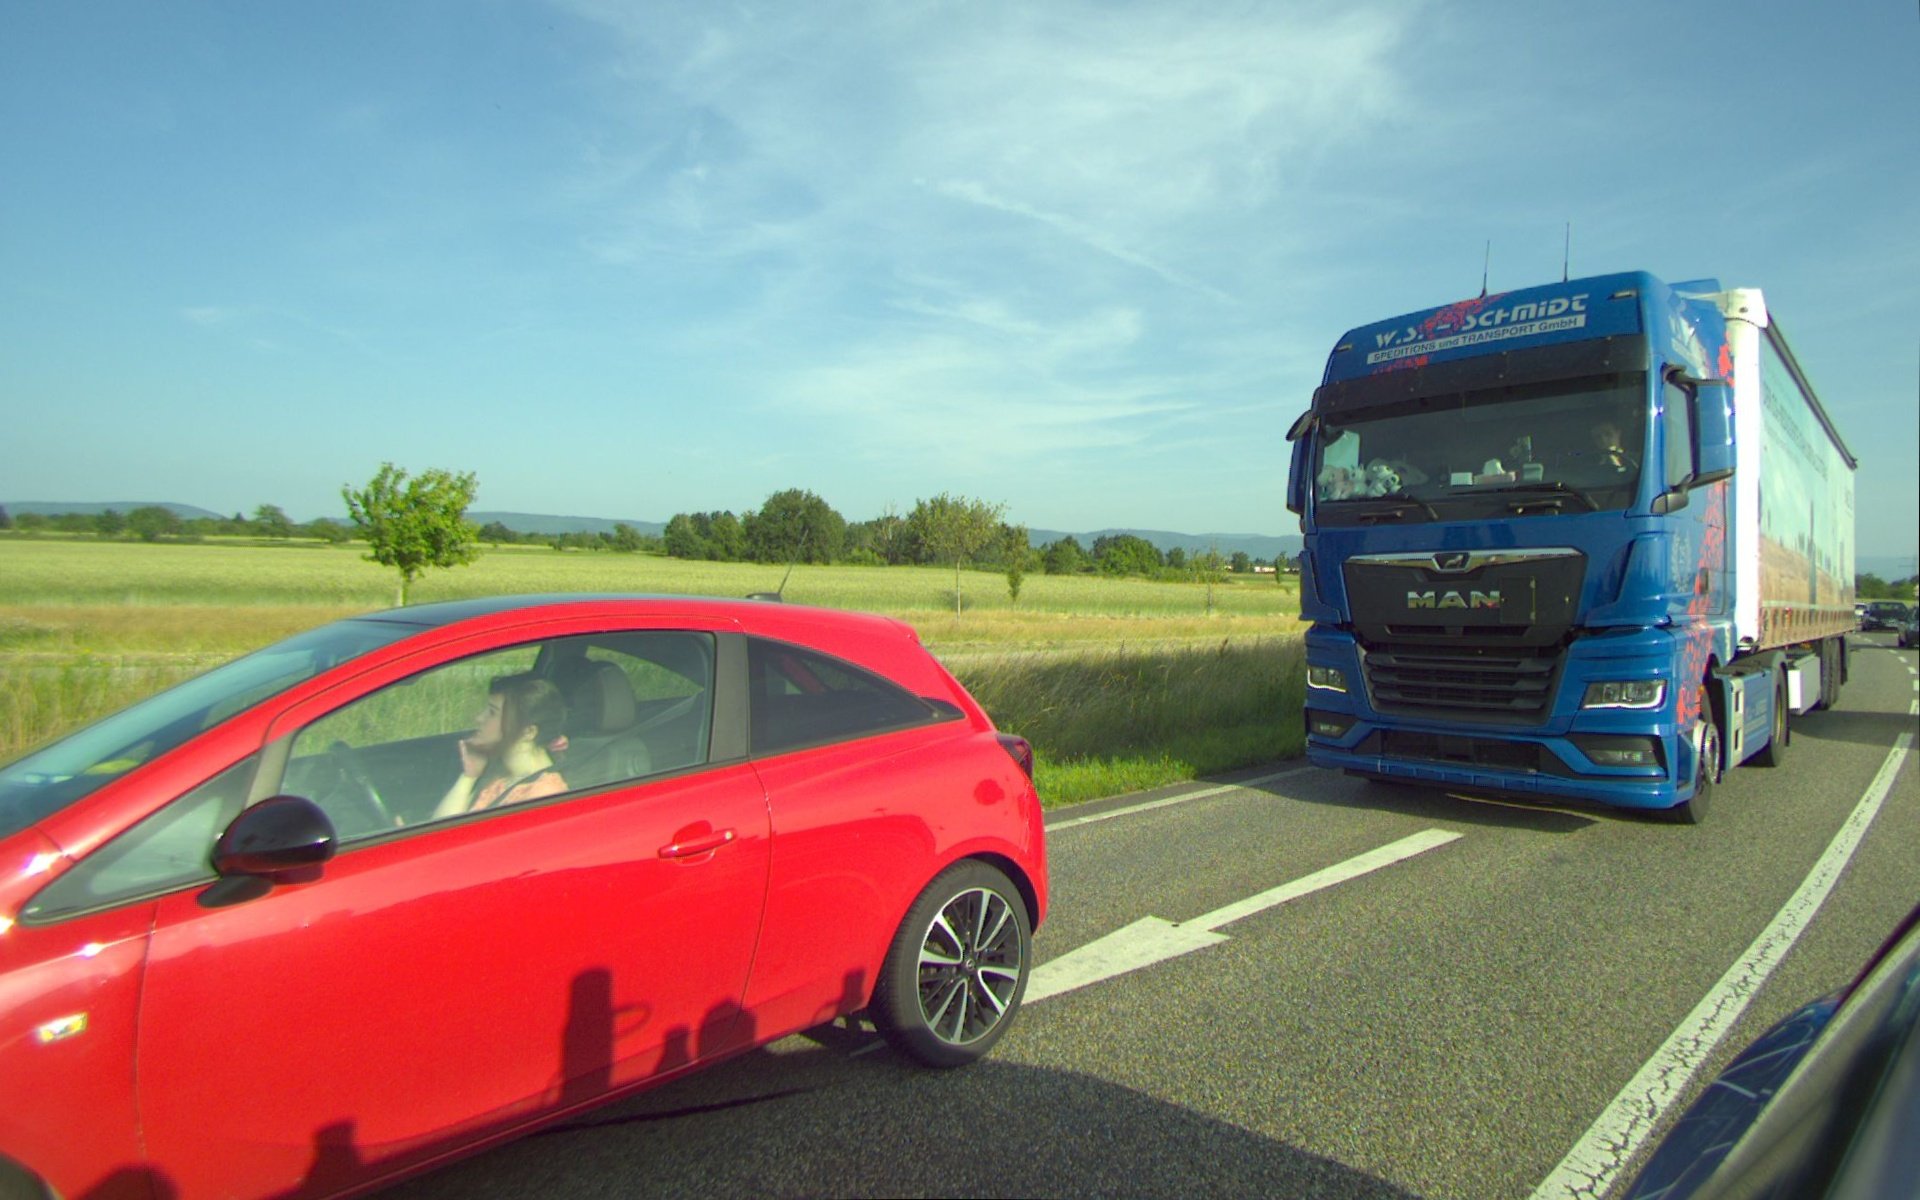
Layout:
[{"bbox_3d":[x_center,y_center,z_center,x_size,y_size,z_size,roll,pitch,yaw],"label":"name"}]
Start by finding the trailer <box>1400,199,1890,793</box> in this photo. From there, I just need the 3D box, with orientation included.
[{"bbox_3d":[10.220,-0.913,13.869,3.282,4.740,12.936,1,1,45],"label":"trailer"}]

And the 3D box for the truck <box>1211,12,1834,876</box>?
[{"bbox_3d":[5.098,-0.892,8.714,3.301,4.716,5.639,1,1,45],"label":"truck"}]

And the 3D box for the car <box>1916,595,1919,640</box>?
[{"bbox_3d":[33.261,0.616,33.871,1.579,1.523,3.608,2,1,40],"label":"car"}]

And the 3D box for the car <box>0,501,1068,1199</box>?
[{"bbox_3d":[-1.544,0.601,2.787,3.688,1.568,1.698,0,1,-44],"label":"car"}]

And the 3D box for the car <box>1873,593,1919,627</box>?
[{"bbox_3d":[46.808,0.470,50.624,1.551,1.579,3.005,2,1,40],"label":"car"}]

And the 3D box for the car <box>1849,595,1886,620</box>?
[{"bbox_3d":[55.665,0.432,62.106,1.551,1.417,3.977,2,1,40],"label":"car"}]
